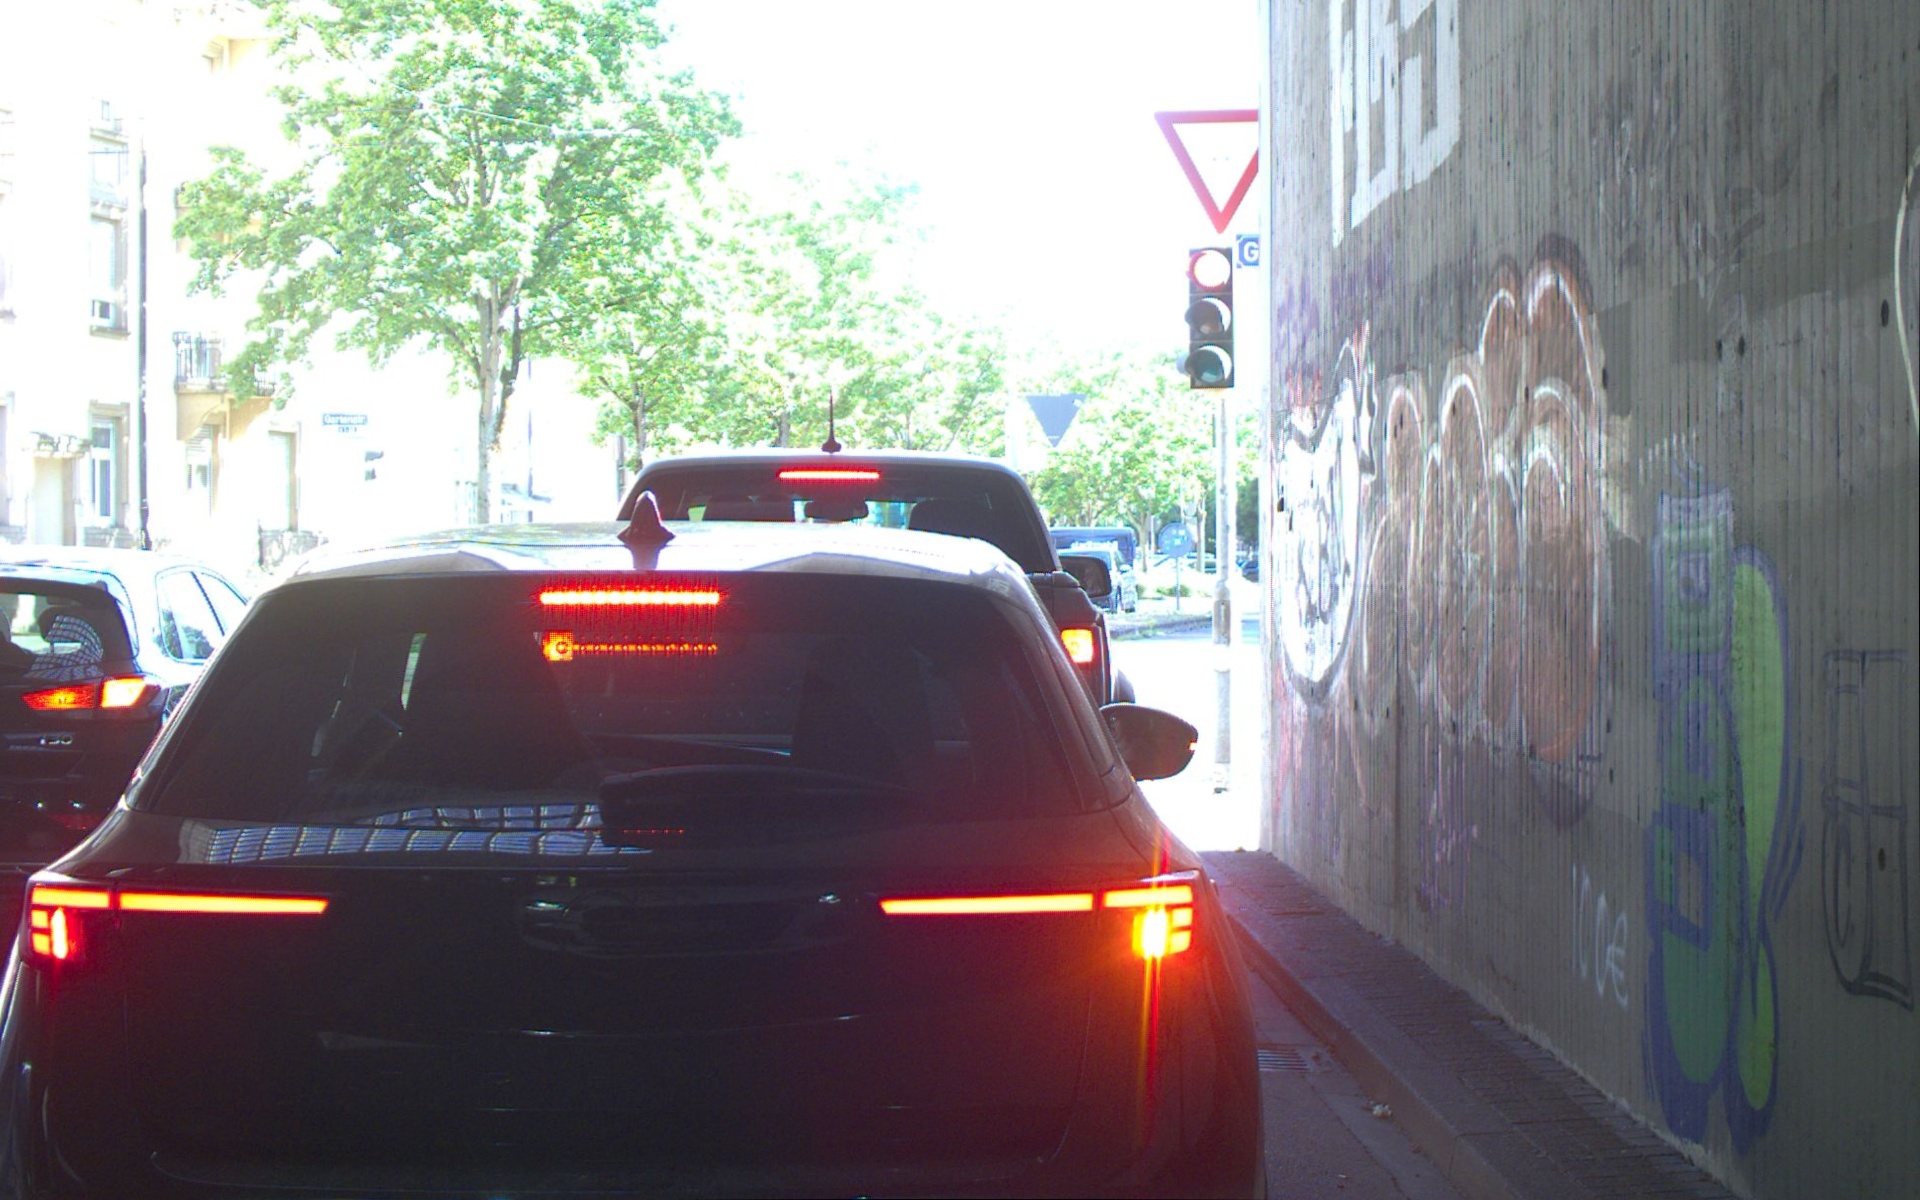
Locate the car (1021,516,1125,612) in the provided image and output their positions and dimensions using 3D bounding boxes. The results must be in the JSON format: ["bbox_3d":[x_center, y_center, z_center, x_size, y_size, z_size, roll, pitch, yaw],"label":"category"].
[{"bbox_3d":[2.077,-0.644,62.193,1.754,1.661,3.944,1,1,3],"label":"car"}]

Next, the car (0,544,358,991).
[{"bbox_3d":[-3.526,0.522,13.286,1.762,1.475,3.844,0,1,-1],"label":"car"}]

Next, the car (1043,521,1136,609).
[{"bbox_3d":[2.597,-0.698,68.312,1.754,1.661,3.944,1,1,3],"label":"car"}]

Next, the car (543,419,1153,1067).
[{"bbox_3d":[-0.349,0.381,12.038,1.762,1.876,4.146,0,1,-1],"label":"car"}]

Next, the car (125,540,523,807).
[{"bbox_3d":[-3.776,0.376,21.010,1.762,1.475,3.844,0,1,-1],"label":"car"}]

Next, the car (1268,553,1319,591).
[{"bbox_3d":[15.079,-1.271,155.275,1.818,1.661,4.813,1,1,11],"label":"car"}]

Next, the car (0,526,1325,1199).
[{"bbox_3d":[-0.477,0.644,6.098,1.762,1.526,4.089,0,1,-1],"label":"car"}]

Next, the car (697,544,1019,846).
[{"bbox_3d":[-0.534,0.443,19.258,1.609,1.508,4.054,0,1,-1],"label":"car"}]
